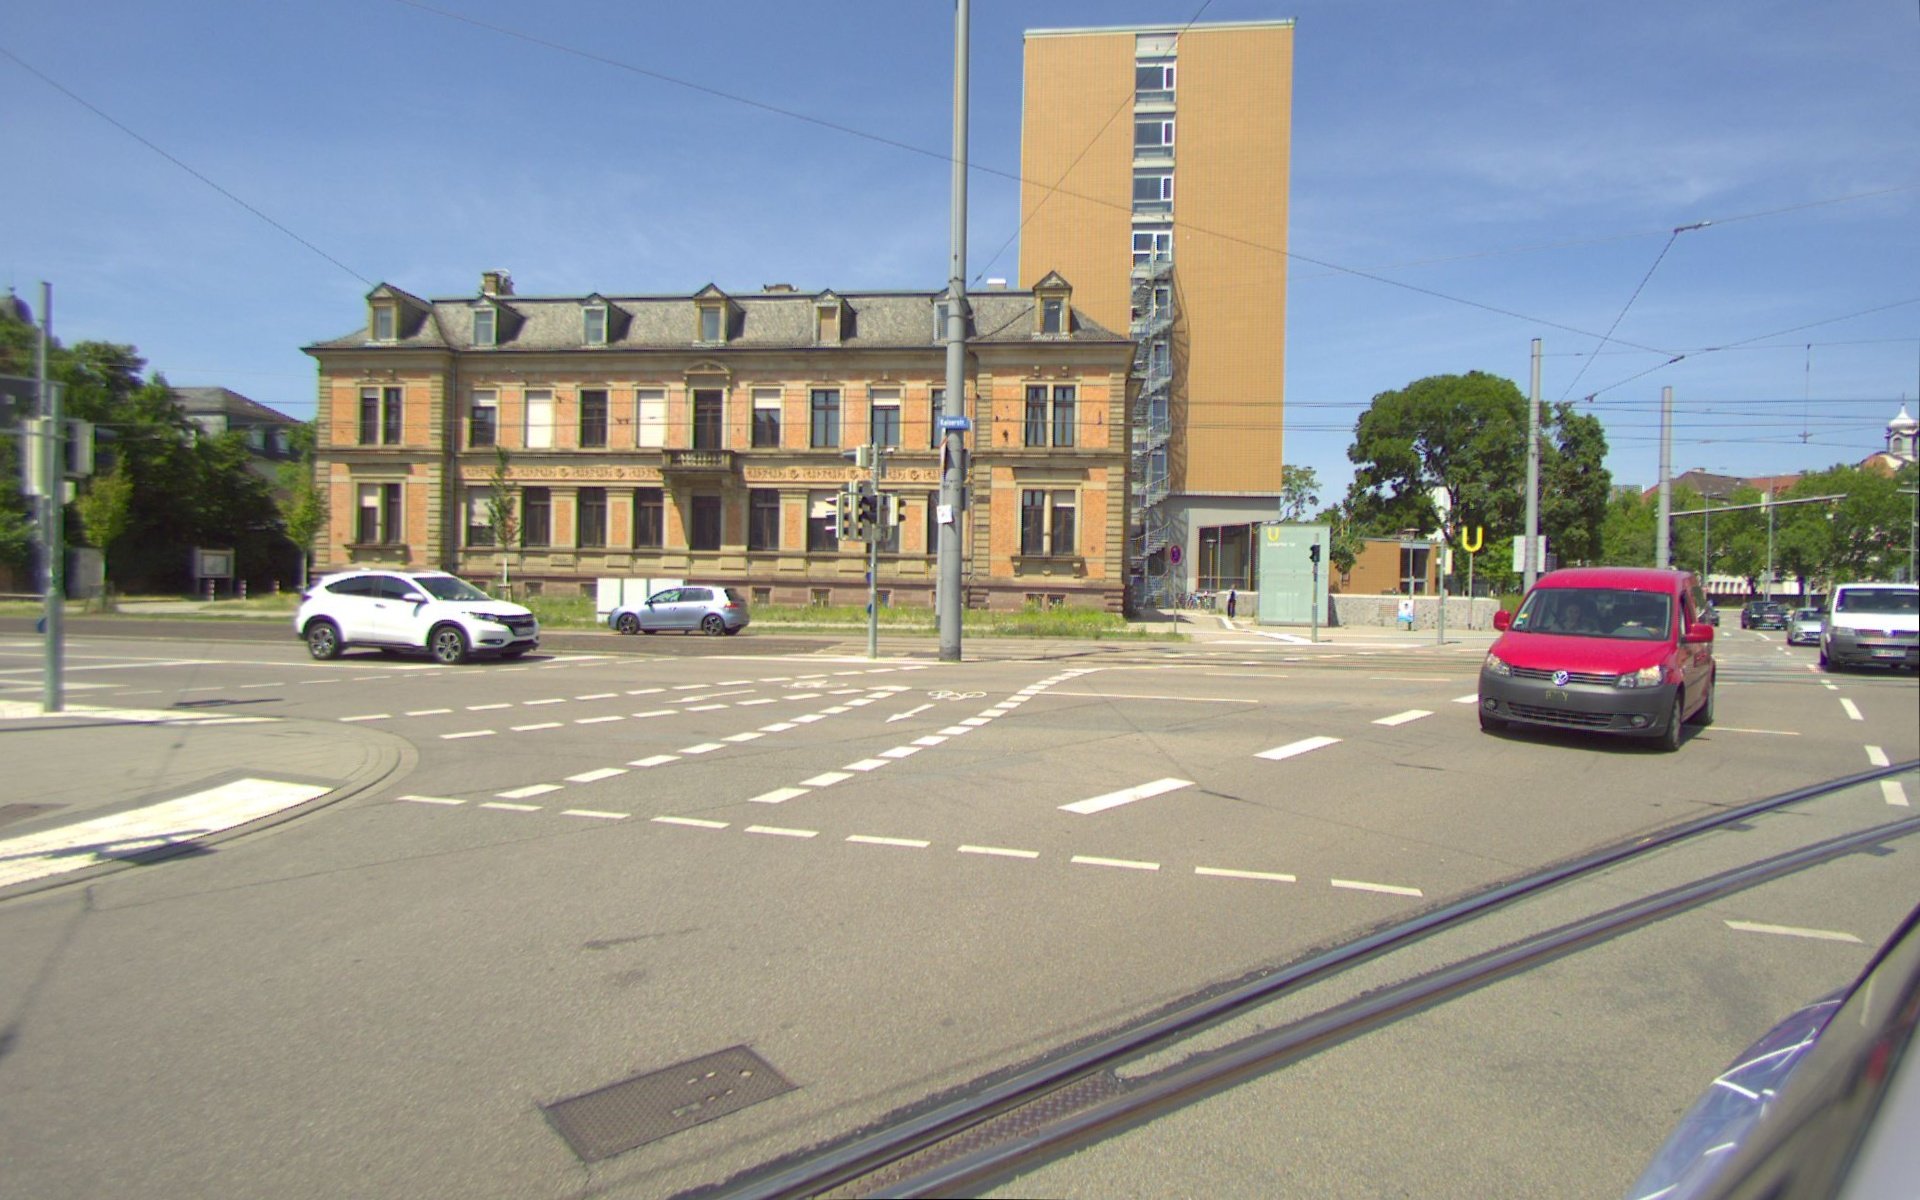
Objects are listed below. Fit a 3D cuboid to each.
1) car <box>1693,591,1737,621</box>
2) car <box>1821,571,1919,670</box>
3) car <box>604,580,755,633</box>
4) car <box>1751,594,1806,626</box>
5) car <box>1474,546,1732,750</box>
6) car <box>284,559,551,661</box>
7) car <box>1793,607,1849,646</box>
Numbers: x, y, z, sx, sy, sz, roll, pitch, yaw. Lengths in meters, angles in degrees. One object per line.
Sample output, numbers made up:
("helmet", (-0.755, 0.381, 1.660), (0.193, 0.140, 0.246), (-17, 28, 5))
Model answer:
("car", (49.493, 0.376, 66.426), (1.985, 1.864, 3.954), (1, 1, 32))
("car", (20.226, 0.396, 22.038), (1.864, 1.990, 3.775), (1, 1, 35))
("car", (-8.165, 0.161, 29.612), (3.932, 1.438, 1.614), (1, 1, 8))
("car", (47.531, 0.541, 58.869), (1.985, 1.746, 3.954), (1, 1, 32))
("car", (7.243, 0.403, 11.217), (1.750, 1.835, 4.035), (1, 1, 42))
("car", (-9.621, 0.130, 18.035), (4.113, 1.625, 1.701), (1, 1, 13))
("car", (33.693, 0.995, 39.665), (1.564, 1.371, 3.410), (2, 1, 39))
